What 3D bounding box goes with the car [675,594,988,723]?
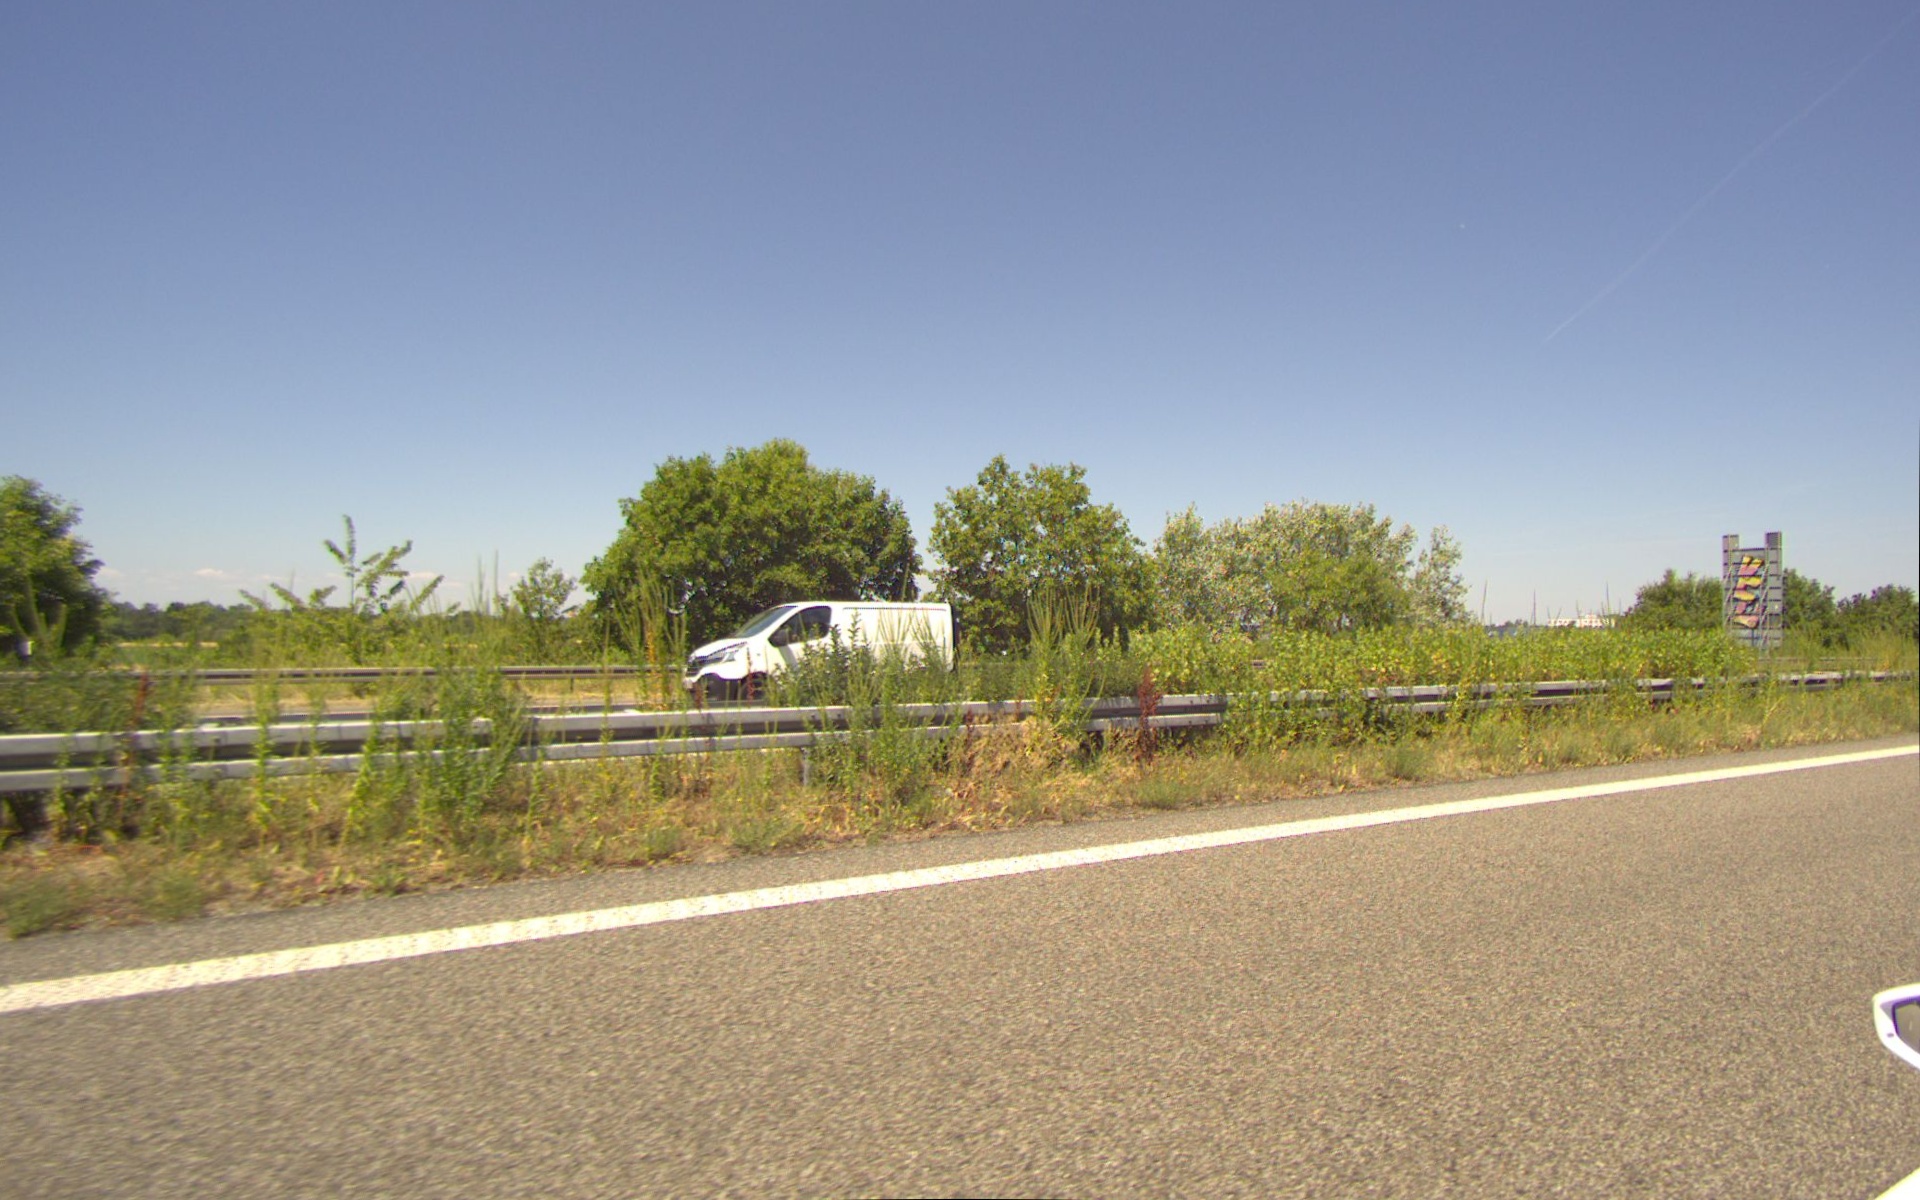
[{"bbox_3d":[-2.230,0.976,18.007,5.211,2.017,1.984,1,0,-31],"label":"car"}]
